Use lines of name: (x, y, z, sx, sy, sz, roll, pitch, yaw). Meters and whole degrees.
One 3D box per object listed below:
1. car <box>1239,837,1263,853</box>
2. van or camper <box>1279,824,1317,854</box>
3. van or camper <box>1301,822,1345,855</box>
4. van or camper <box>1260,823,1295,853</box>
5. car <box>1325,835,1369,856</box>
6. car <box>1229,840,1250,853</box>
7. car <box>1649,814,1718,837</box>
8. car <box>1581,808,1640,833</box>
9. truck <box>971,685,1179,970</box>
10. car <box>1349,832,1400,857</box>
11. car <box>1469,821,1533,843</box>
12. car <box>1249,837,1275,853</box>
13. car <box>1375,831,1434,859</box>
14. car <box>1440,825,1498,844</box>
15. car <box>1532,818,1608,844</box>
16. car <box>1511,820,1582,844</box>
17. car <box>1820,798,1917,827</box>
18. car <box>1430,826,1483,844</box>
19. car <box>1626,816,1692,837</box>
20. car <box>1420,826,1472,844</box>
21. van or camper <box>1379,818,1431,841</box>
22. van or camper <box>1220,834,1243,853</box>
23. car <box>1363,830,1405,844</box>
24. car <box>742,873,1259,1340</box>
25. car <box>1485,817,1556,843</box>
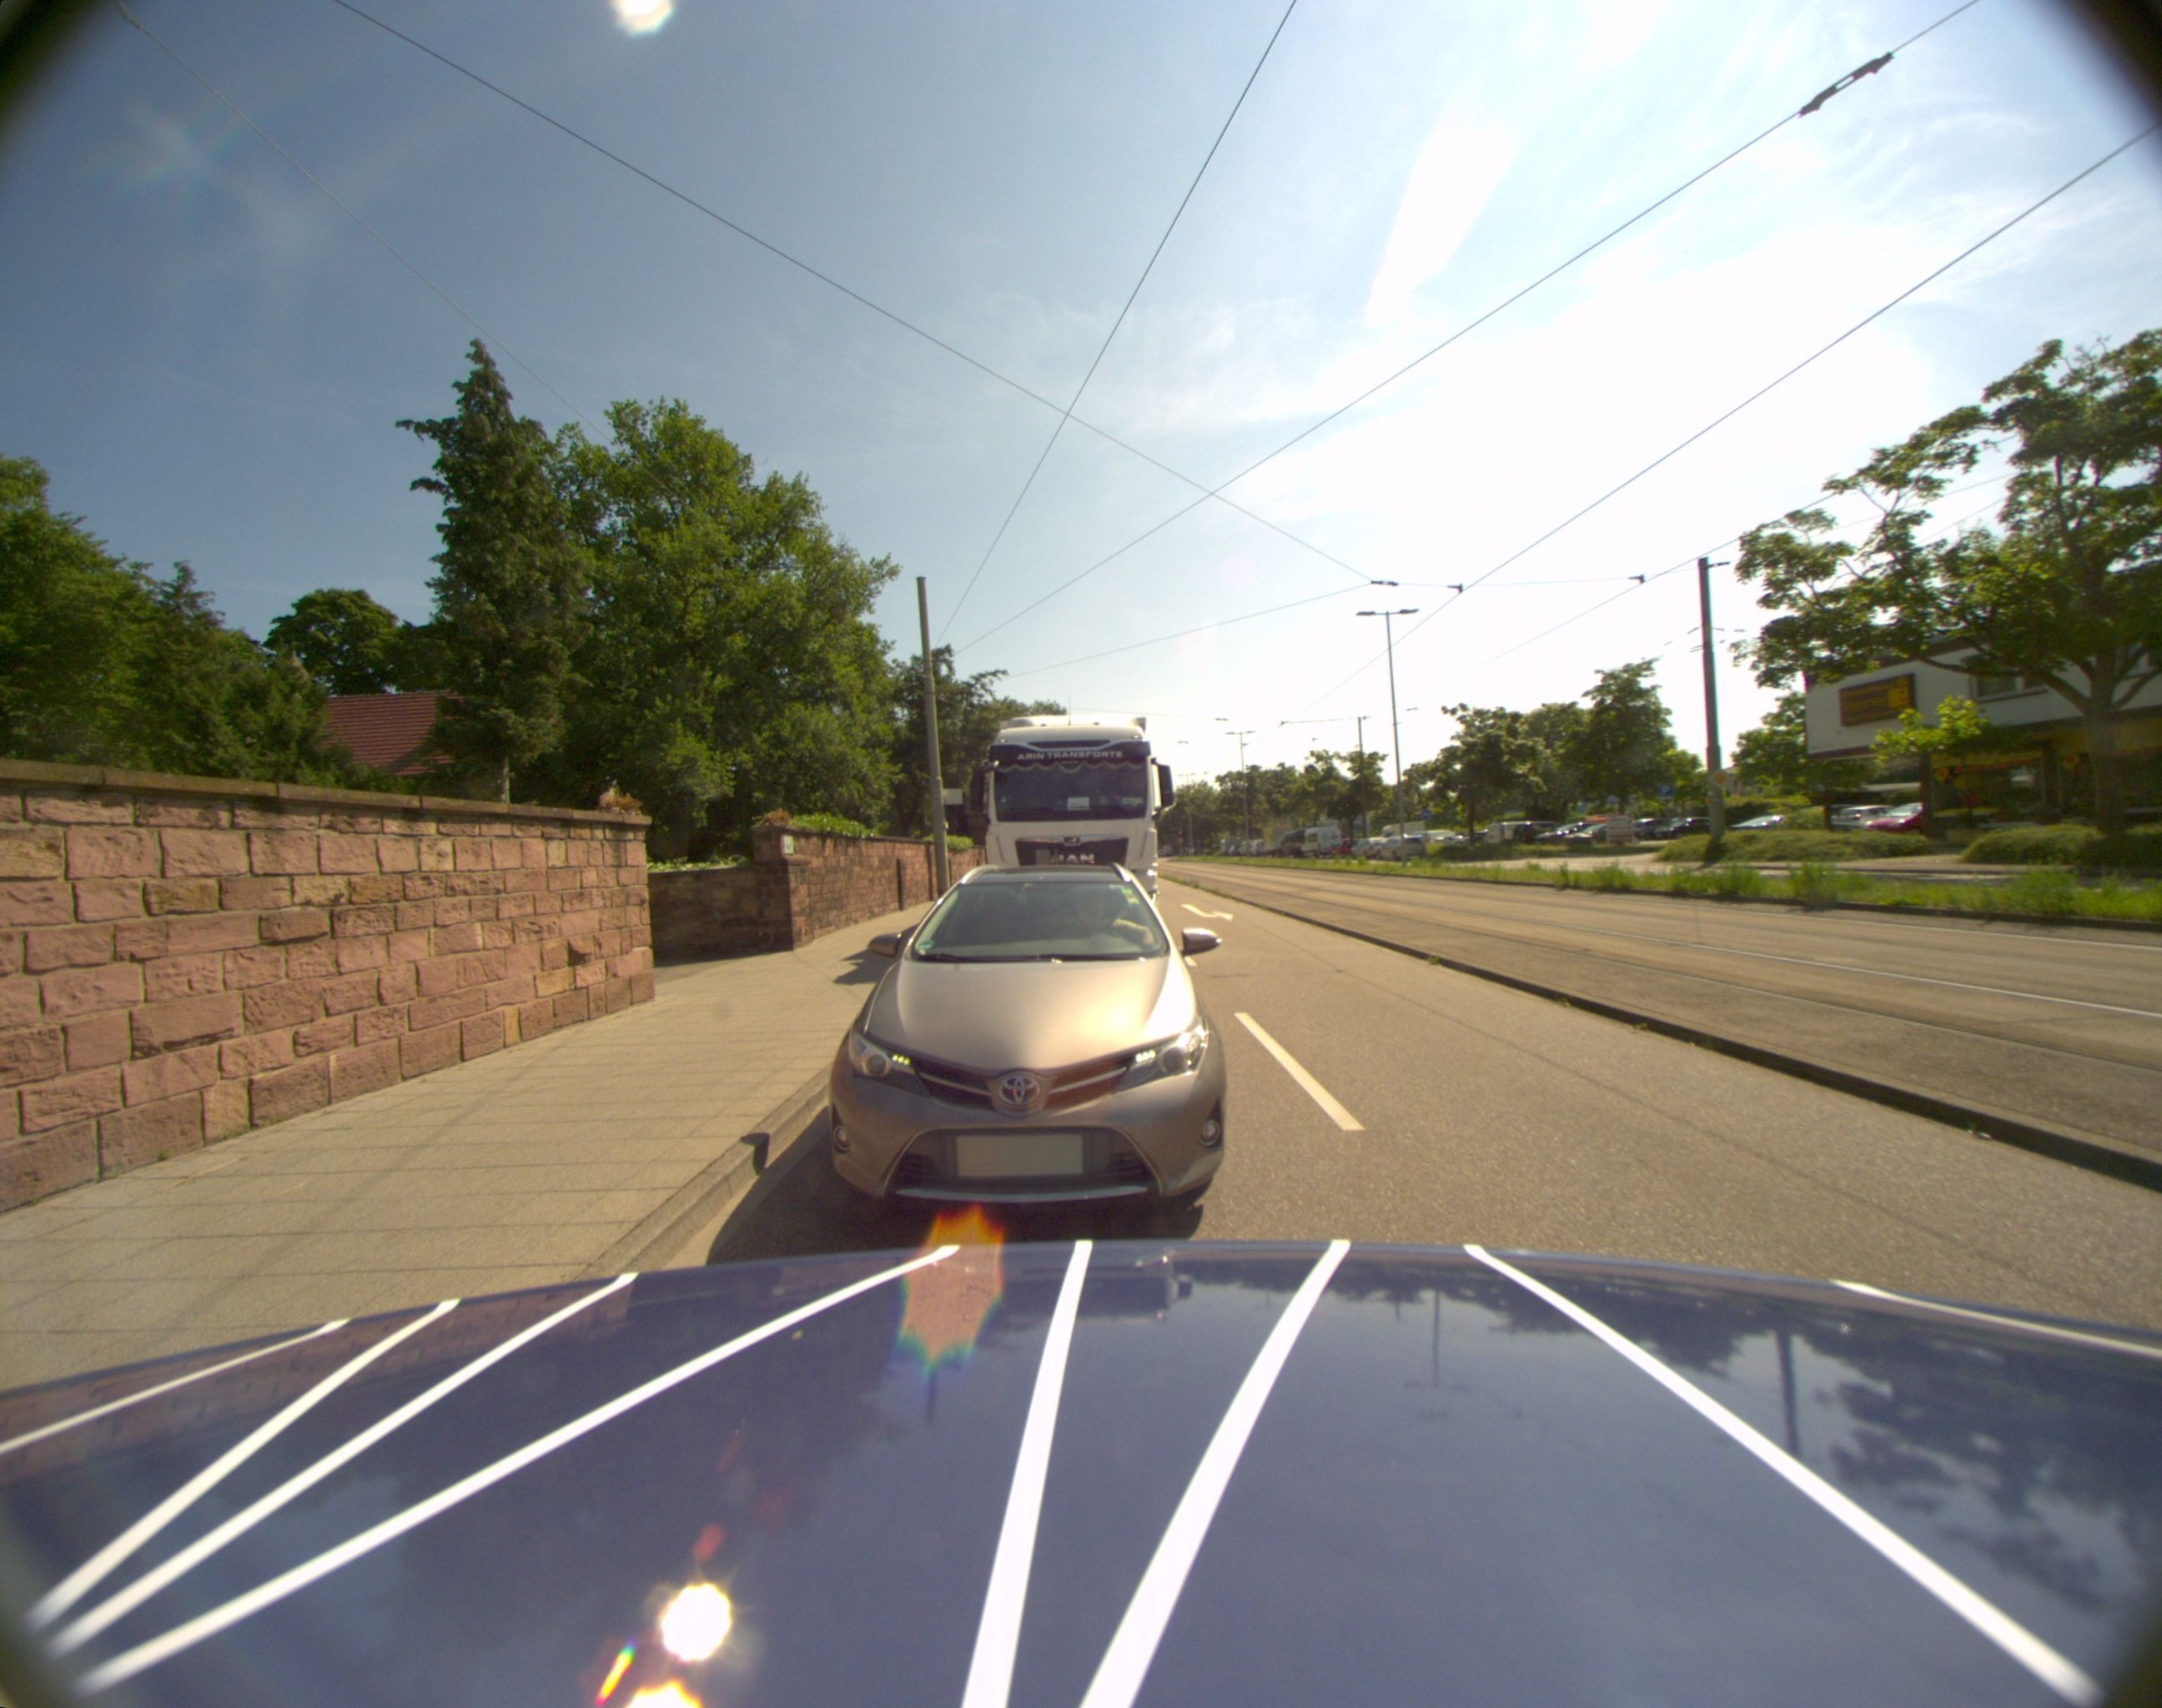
car: (21.054, -1.090, 94.296, 1.893, 1.757, 4.232, -3, 0, 0)
van or camper: (20.217, -1.344, 70.857, 2.040, 2.617, 4.839, -3, 0, 0)
van or camper: (20.270, -1.266, 63.801, 2.040, 2.617, 4.839, -3, 0, 0)
van or camper: (20.291, -1.611, 78.746, 2.128, 2.968, 5.281, -3, 0, 0)
car: (20.531, -0.626, 58.861, 1.893, 1.486, 4.232, -3, 0, 0)
car: (20.914, -0.953, 100.300, 1.893, 1.551, 4.232, -3, 0, 0)
car: (43.535, -2.039, 54.944, 3.624, 1.353, 1.712, -3, 1, -1)
car: (43.596, -2.726, 62.575, 3.624, 1.767, 1.712, -3, 1, -1)
truck: (-0.021, -0.396, 15.042, 2.746, 3.852, 9.110, -2, 0, 1)
car: (20.534, -0.632, 53.354, 1.893, 1.551, 4.285, -3, 0, 0)
car: (30.376, -1.581, 54.995, 3.624, 1.277, 1.712, -3, 1, -1)
car: (20.780, -1.030, 87.361, 1.893, 1.724, 4.232, -3, 0, 0)
car: (20.399, -0.534, 48.141, 1.892, 1.486, 4.285, -6, 0, 2)
car: (31.056, -1.541, 60.868, 3.624, 1.274, 1.812, -3, 0, -1)
car: (30.496, -1.405, 47.460, 3.624, 1.353, 1.712, -3, 1, -1)
car: (30.700, -1.444, 50.202, 3.624, 1.353, 1.712, -3, 1, -1)
car: (43.786, -2.298, 42.287, 3.624, 1.353, 1.712, -3, 1, -1)
car: (31.473, -1.589, 63.739, 3.624, 1.274, 1.712, -3, 1, -1)
car: (43.735, -2.079, 57.535, 3.624, 1.353, 1.712, -3, 1, -1)
car: (31.691, -1.624, 66.029, 3.624, 1.274, 1.712, -3, 1, -1)
van or camper: (44.862, -3.389, 105.396, 6.081, 2.715, 2.299, -3, 1, 3)
van or camper: (21.177, -1.474, 107.204, 2.114, 2.604, 5.451, -2, 1, 1)
car: (32.005, -1.798, 80.292, 3.624, 1.274, 1.712, -3, 1, -1)
car: (-0.253, 0.953, 4.915, 1.742, 1.424, 4.462, -3, 0, 1)
car: (30.449, -1.642, 52.669, 3.749, 1.560, 1.951, -3, 1, -1)
